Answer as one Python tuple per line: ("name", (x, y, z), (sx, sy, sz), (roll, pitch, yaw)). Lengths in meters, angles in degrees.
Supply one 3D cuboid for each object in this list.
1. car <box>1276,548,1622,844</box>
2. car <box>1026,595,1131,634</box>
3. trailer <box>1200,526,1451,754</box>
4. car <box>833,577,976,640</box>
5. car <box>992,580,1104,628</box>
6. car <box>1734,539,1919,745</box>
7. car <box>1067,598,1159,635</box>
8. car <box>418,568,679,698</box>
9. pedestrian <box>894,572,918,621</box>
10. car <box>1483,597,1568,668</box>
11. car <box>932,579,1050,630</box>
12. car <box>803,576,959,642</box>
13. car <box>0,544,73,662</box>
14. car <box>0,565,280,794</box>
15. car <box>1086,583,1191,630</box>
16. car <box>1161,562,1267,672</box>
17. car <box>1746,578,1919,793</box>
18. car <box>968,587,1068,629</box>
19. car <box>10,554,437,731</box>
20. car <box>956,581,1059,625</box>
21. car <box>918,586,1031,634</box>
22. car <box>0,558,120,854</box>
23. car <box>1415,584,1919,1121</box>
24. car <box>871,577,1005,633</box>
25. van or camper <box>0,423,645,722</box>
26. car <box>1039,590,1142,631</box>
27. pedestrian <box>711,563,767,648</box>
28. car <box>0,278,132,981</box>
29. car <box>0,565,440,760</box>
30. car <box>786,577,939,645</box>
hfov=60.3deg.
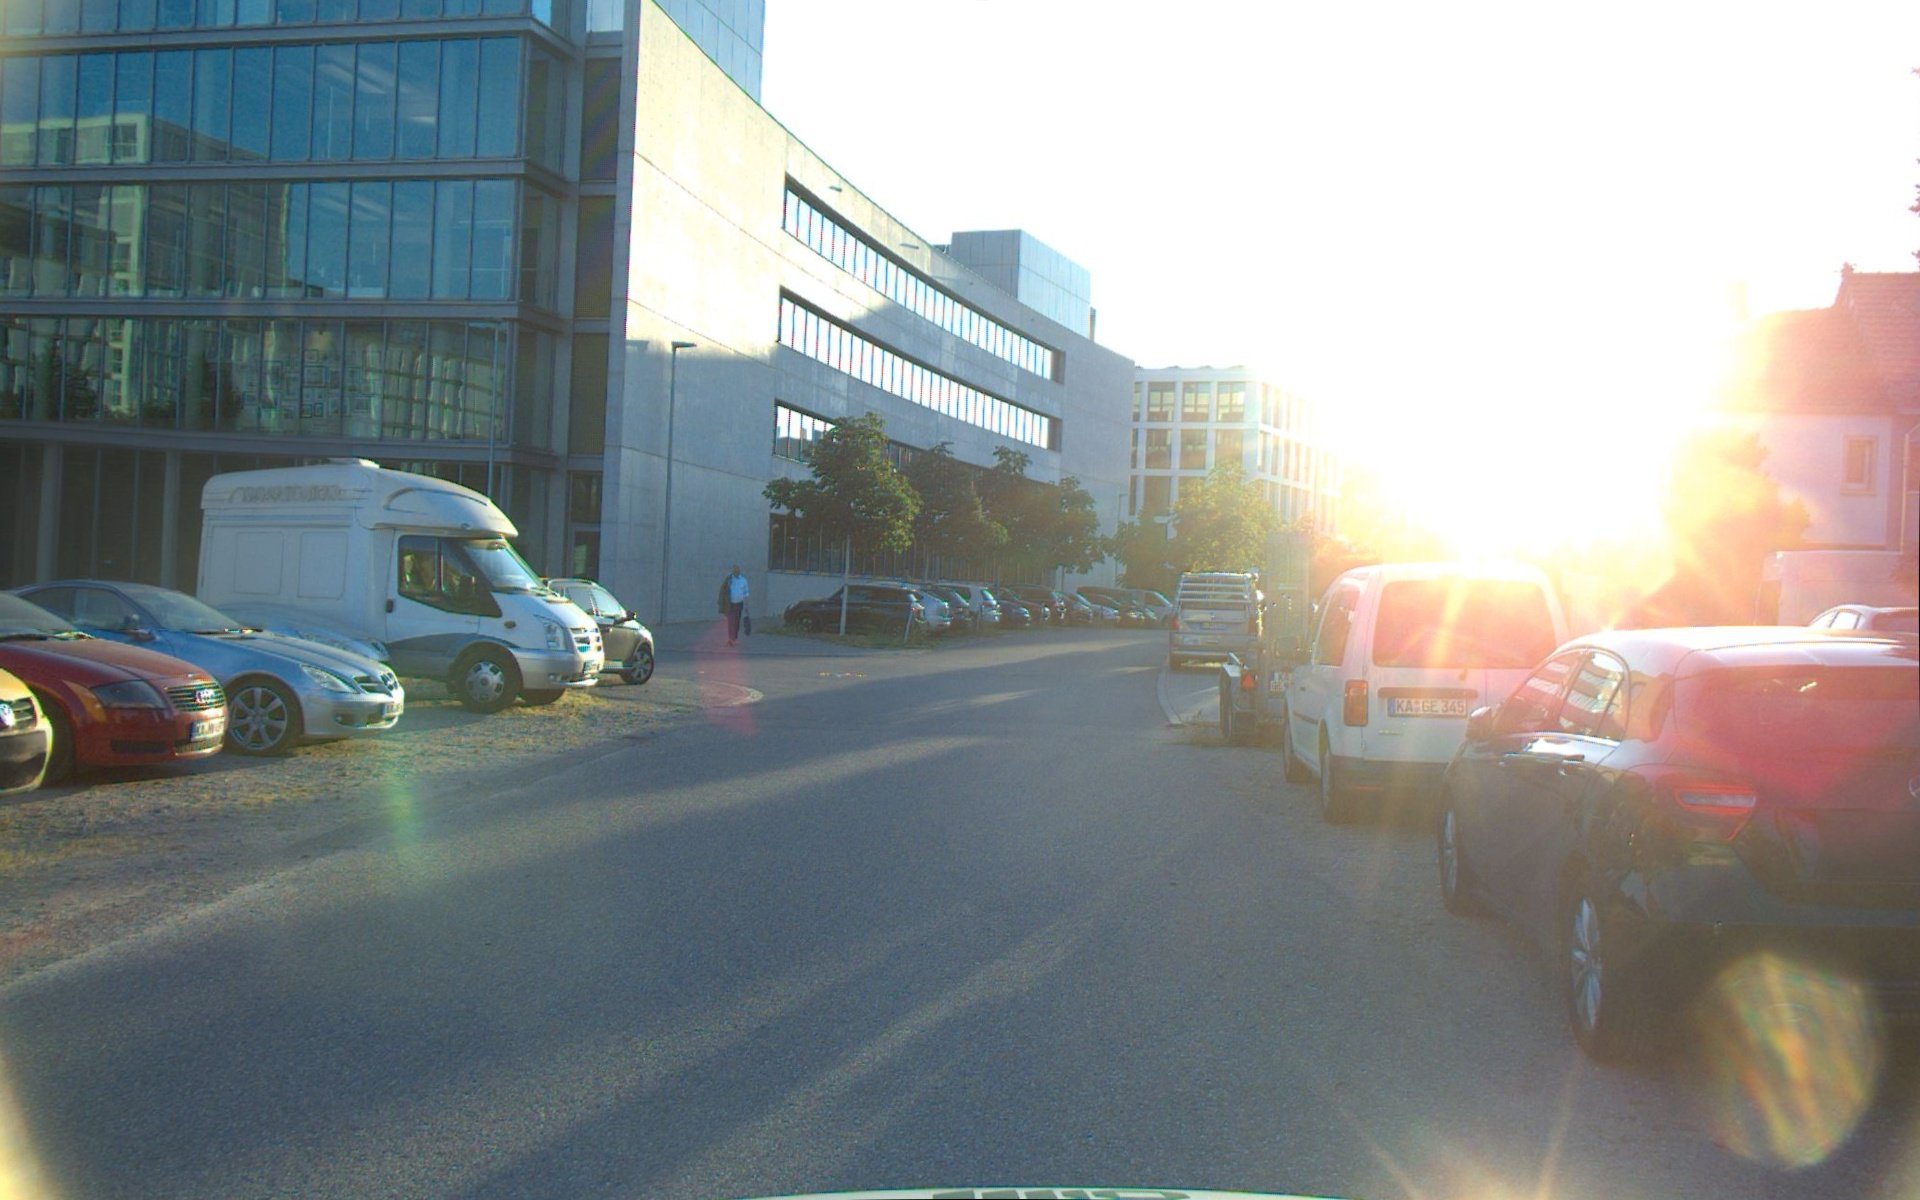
("car", (3.594, 0.637, 12.947), (1.733, 1.863, 4.410), (2, 0, 5))
("car", (5.289, 0.632, 73.988), (4.342, 1.489, 1.763), (3, 1, 20))
("trailer", (4.074, 0.374, 19.356), (2.021, 2.250, 5.225), (2, 1, 3))
("car", (-1.598, 0.220, 48.490), (3.913, 1.538, 1.586), (4, 2, 8))
("car", (3.662, 0.170, 68.309), (4.218, 1.726, 1.897), (3, 0, 17))
("car", (14.122, 0.617, 23.295), (5.446, 2.739, 2.055), (3, 2, 16))
("car", (7.464, 0.798, 80.472), (4.060, 1.428, 1.725), (5, 0, 20))
("car", (-5.643, 0.446, 23.279), (1.651, 1.545, 4.364), (4, 0, 13))
("pedestrian", (-2.066, -0.134, 63.602), (0.632, 1.815, 0.725), (3, 0, 14))
("car", (12.691, 0.699, 37.260), (1.496, 1.469, 3.643), (2, 1, 14))
("car", (1.116, 0.154, 58.756), (3.788, 1.537, 1.761), (4, 1, 15))
("car", (-2.180, 0.231, 46.244), (3.999, 1.555, 1.848), (4, 1, 8))
("car", (-13.725, -0.059, 21.687), (3.365, 1.472, 1.516), (4, 0, 8))
("car", (-7.007, 0.452, 11.644), (3.650, 1.391, 1.705), (4, 0, -1))
("car", (9.259, 0.342, 85.702), (4.974, 1.980, 1.889), (5, 0, 21))
("car", (5.516, 0.318, 35.451), (2.021, 2.131, 4.876), (2, 1, 11))
("car", (7.882, 0.701, 13.724), (1.601, 1.546, 3.906), (2, -2, 13))
("car", (2.317, 0.315, 65.689), (3.624, 1.483, 1.680), (3, 0, 17))
("car", (-7.418, 0.411, 16.929), (3.532, 1.502, 1.692), (4, 0, -2))
("car", (1.838, 0.110, 63.585), (3.624, 1.483, 1.712), (3, 0, 15))
("car", (0.510, 0.320, 55.934), (3.556, 1.385, 1.687), (3, 1, 9))
("car", (-6.833, 0.462, 9.001), (3.555, 1.545, 1.705), (4, 0, -1))
("car", (3.088, 0.740, 6.853), (1.668, 1.545, 4.091), (2, 0, 6))
("car", (-0.694, 0.157, 53.268), (3.903, 1.537, 1.761), (4, 1, 13))
("van or camper", (-7.355, -0.328, 19.542), (6.600, 2.948, 2.410), (3, 0, 3))
("car", (6.016, 0.497, 76.368), (4.311, 1.525, 1.762), (5, 0, 24))
("pedestrian", (-4.969, 0.118, 37.178), (0.895, 1.882, 0.842), (1, 1, -45))
("car", (-6.413, -0.081, 5.707), (5.766, 2.577, 2.413), (4, 0, 4))
("car", (-6.652, 0.489, 14.237), (3.730, 1.351, 1.693), (4, 0, 1))
("car", (-2.530, 0.271, 43.475), (3.655, 1.507, 1.771), (4, 1, 8))
